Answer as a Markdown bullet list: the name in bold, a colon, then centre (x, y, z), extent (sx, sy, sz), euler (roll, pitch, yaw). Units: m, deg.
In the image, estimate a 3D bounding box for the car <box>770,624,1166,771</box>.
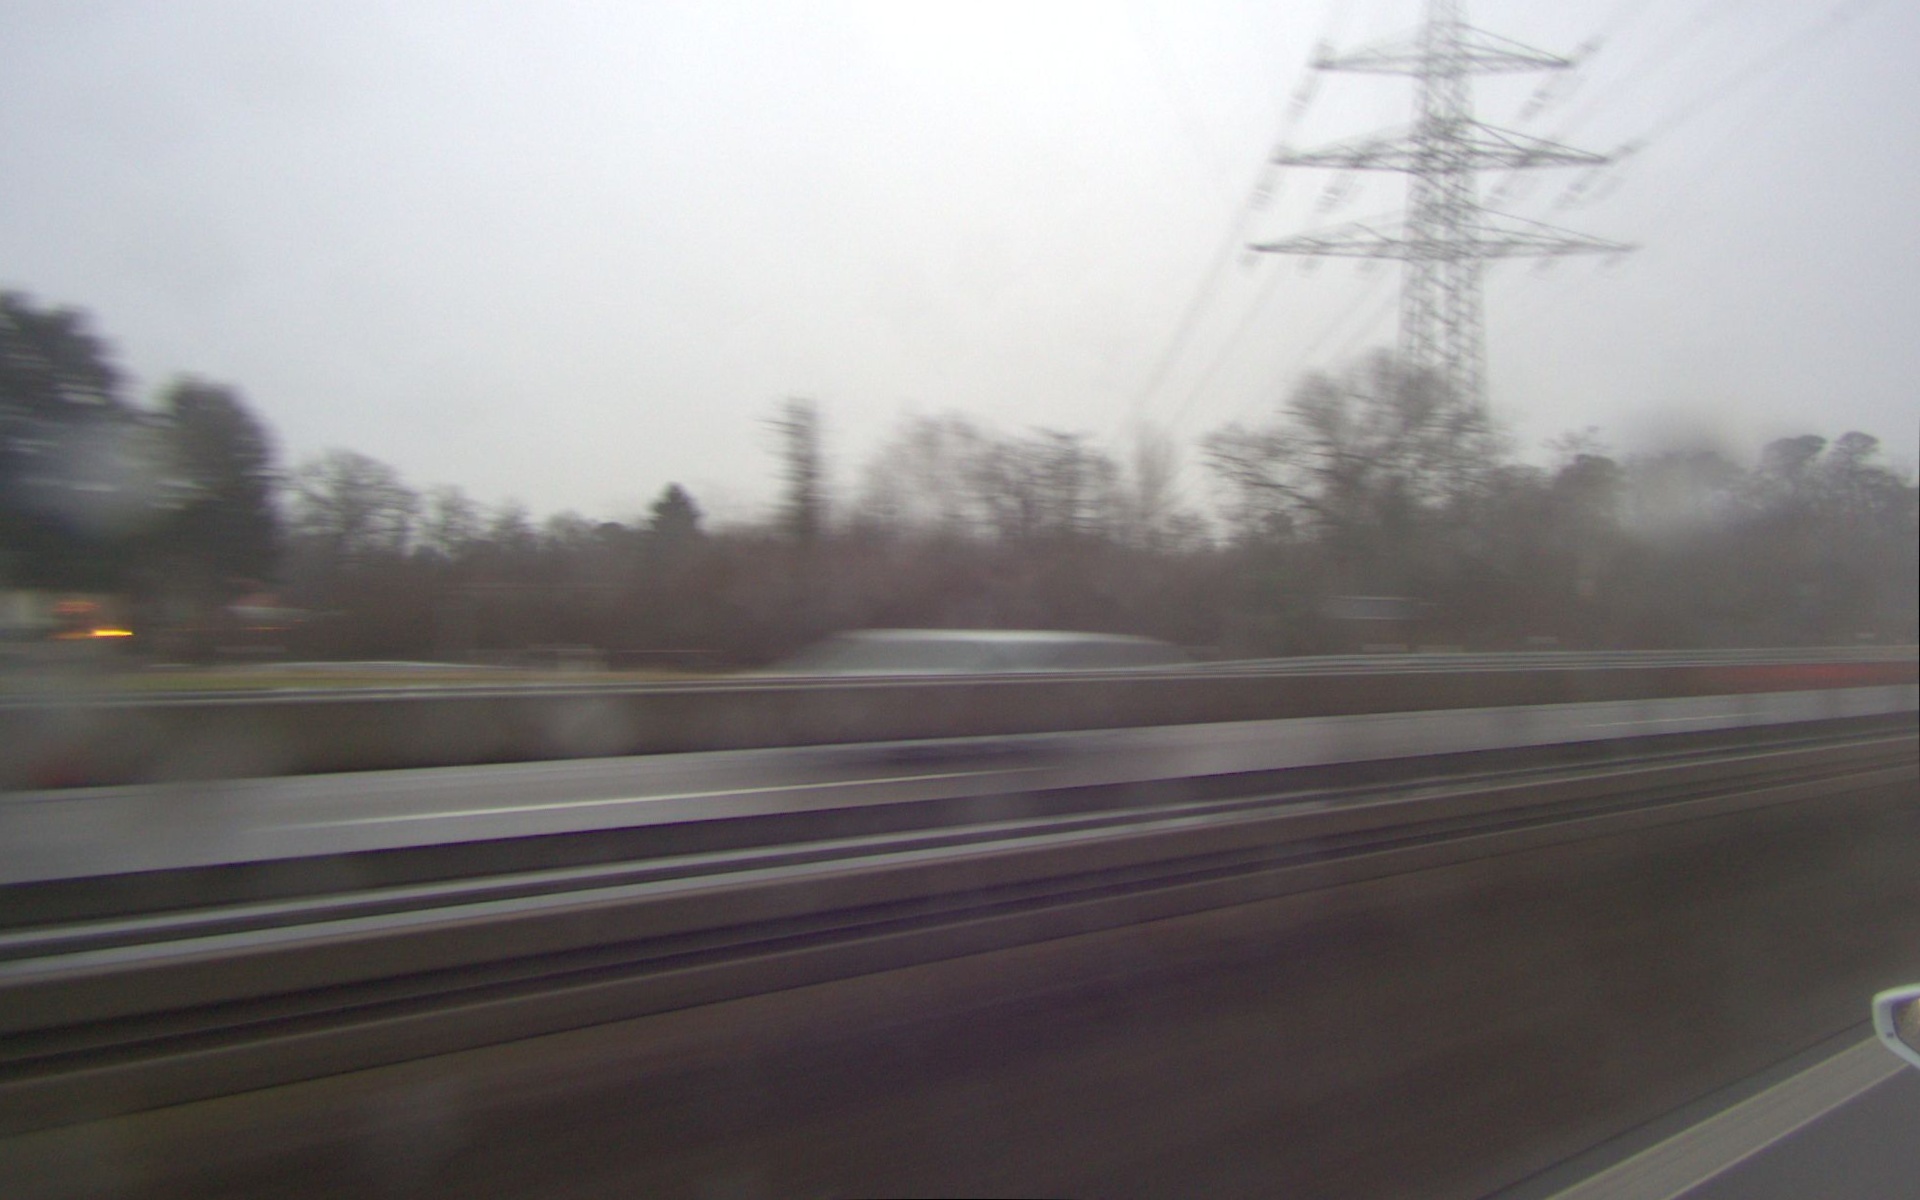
- **car**: centre (0.159, 1.041, 12.211), extent (4.496, 1.458, 1.917), euler (1, -1, -30)
